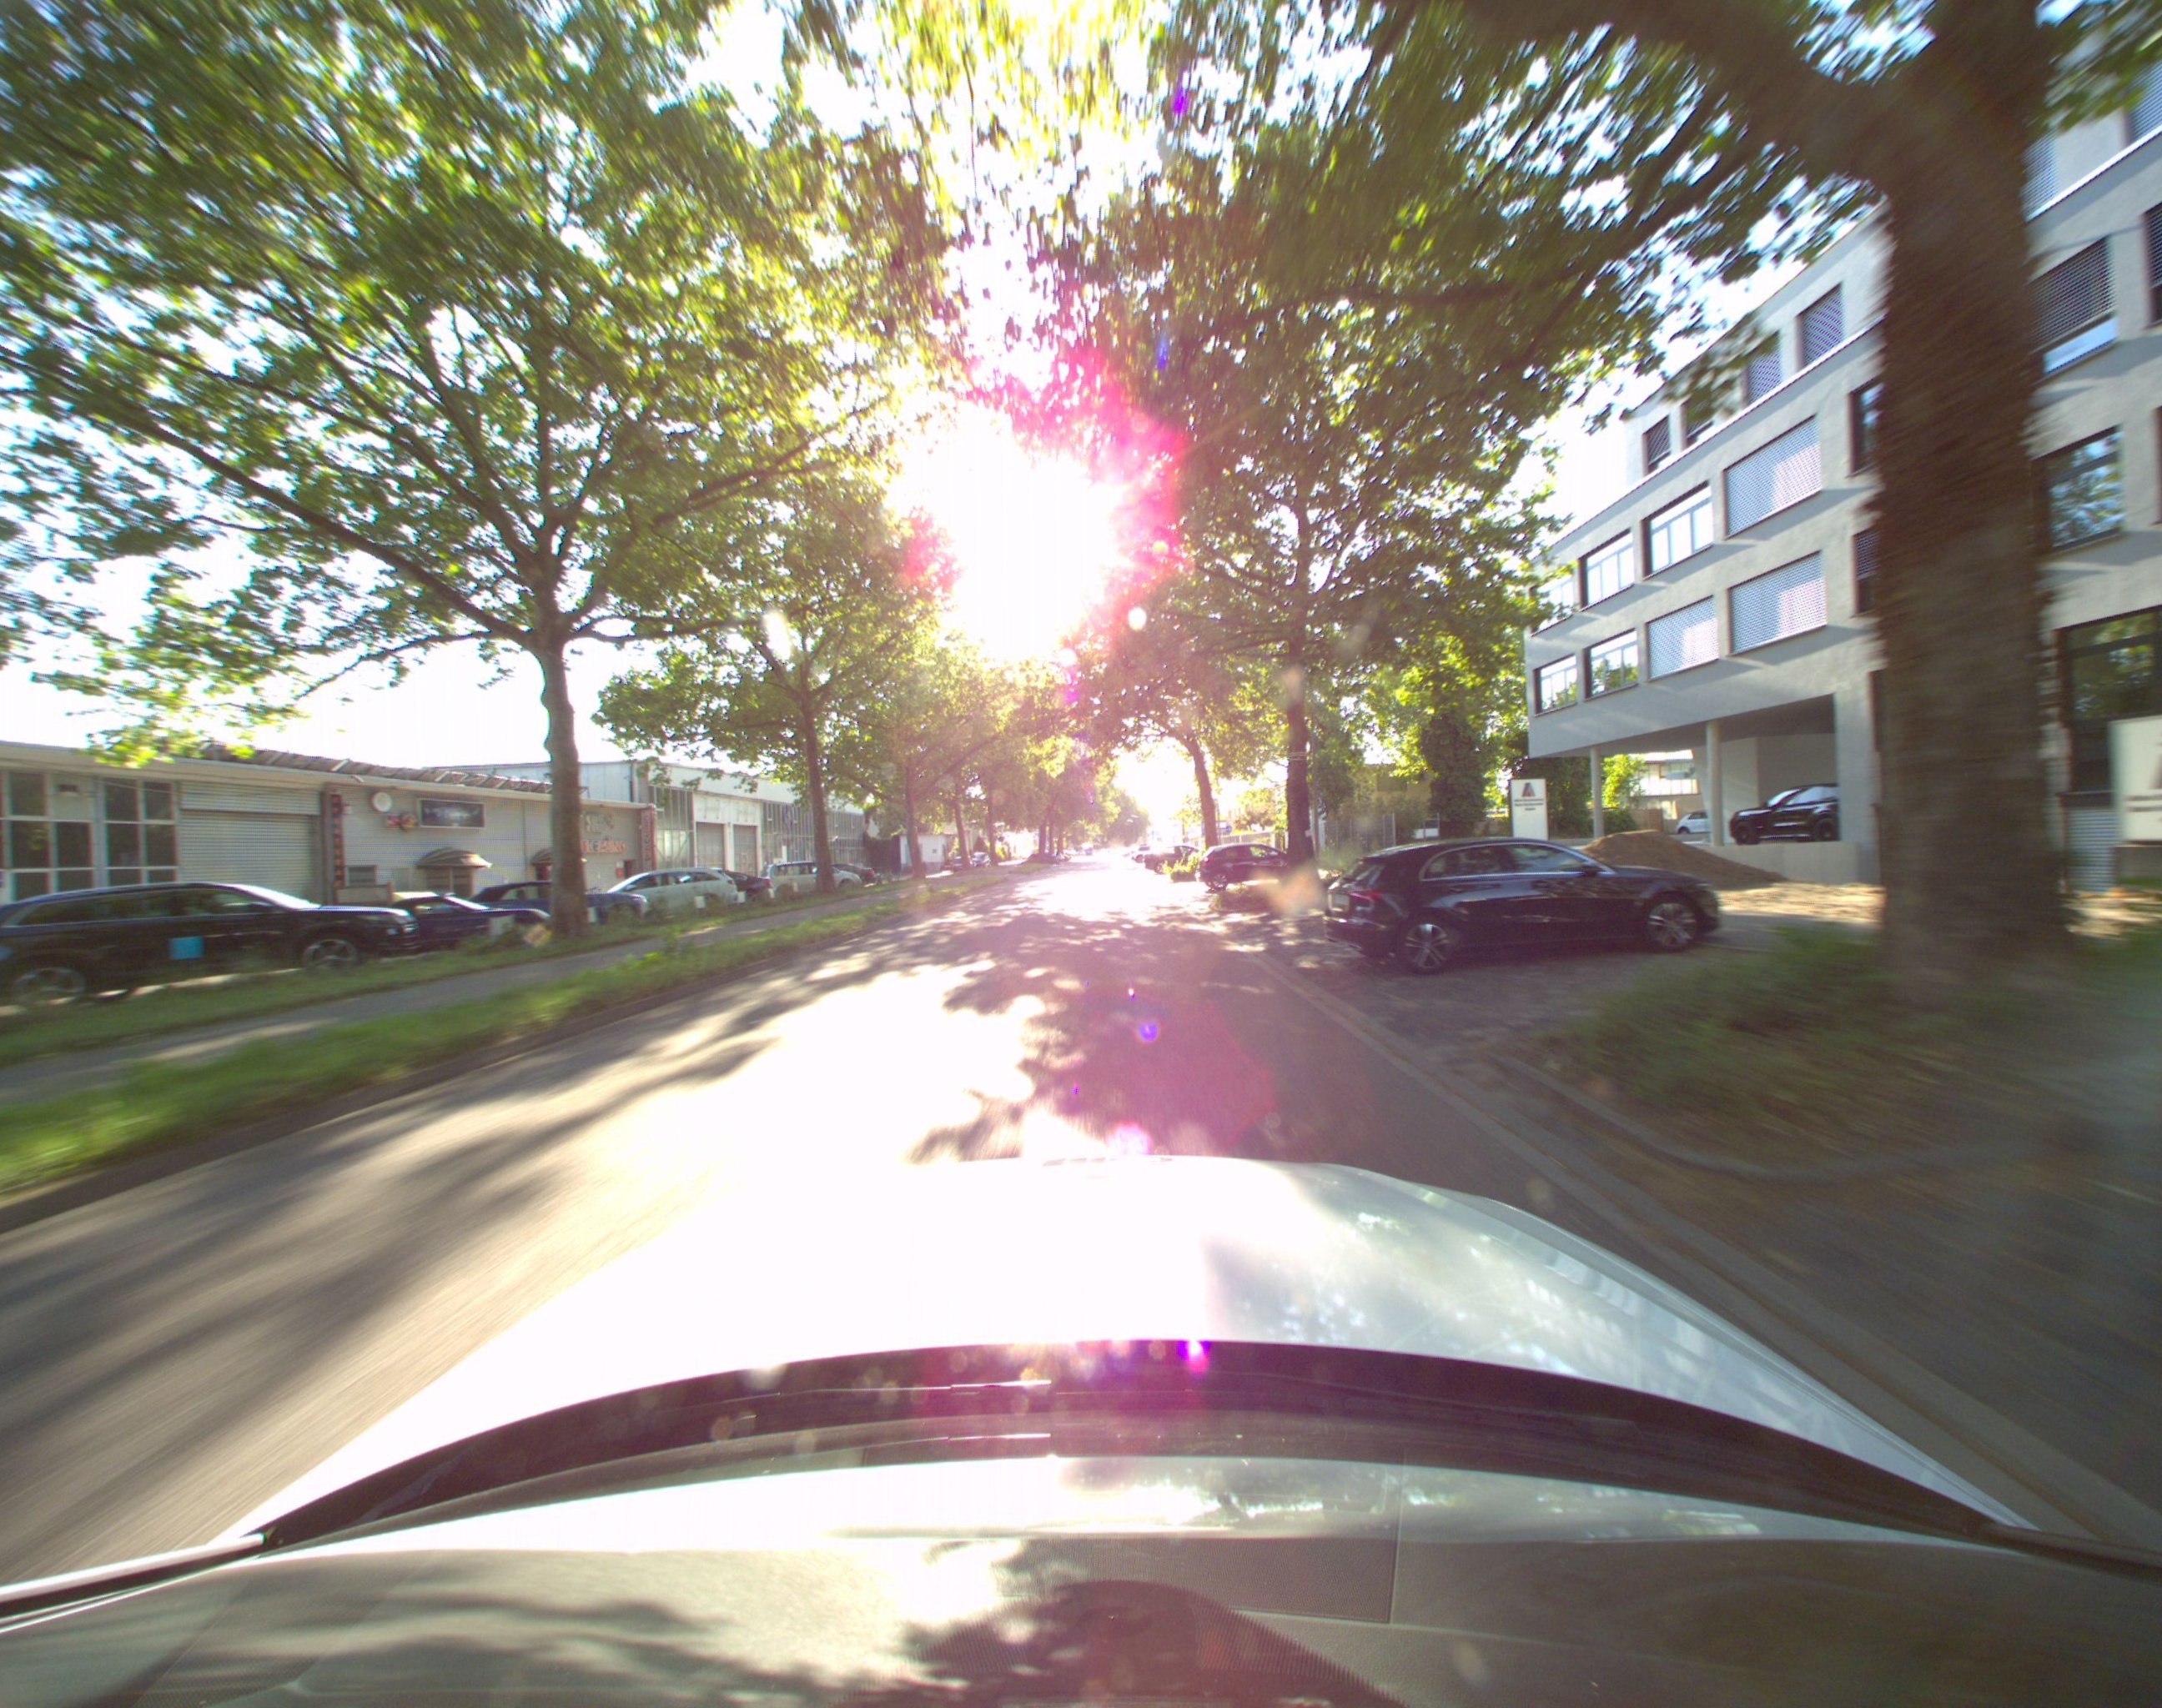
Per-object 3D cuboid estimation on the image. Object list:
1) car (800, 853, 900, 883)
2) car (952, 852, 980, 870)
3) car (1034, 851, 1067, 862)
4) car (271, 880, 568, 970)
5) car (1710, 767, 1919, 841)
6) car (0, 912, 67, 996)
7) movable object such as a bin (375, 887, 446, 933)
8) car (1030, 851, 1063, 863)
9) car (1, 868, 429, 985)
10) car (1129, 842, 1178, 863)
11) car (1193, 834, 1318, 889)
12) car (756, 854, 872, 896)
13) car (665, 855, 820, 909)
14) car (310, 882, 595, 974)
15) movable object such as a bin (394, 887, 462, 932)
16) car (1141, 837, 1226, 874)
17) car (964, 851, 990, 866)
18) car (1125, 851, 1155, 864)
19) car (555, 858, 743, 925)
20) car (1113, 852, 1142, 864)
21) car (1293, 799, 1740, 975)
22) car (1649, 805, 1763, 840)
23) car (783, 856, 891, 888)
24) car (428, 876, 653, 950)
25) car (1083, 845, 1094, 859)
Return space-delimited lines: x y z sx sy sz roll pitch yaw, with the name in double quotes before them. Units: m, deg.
"car" -11.816 0.687 41.875 4.508 1.306 1.977 -2 1 -40
"car" -10.224 0.637 72.758 1.989 1.369 3.916 -6 0 -3
"car" -4.141 0.354 109.739 4.341 1.422 1.999 -2 0 -1
"car" -12.666 1.280 15.960 4.282 1.382 1.978 0 0 -37
"car" 20.101 -1.290 22.663 1.983 1.731 4.677 0 0 7
"car" -21.303 1.937 16.007 3.255 1.385 1.563 -1 0 36
"movable object such as a bin" -22.325 1.846 27.152 1.053 1.431 1.573 0 0 -1
"car" -4.884 0.426 115.708 4.584 1.422 2.000 -2 1 0
"car" -12.972 0.989 12.721 4.282 1.452 1.978 0 0 -37
"car" 7.252 -0.182 81.693 4.610 1.712 1.999 -5 0 -1
"car" 5.873 0.250 27.701 3.773 1.486 1.860 -5 0 -1
"car" -11.774 0.896 36.069 4.504 1.730 1.978 0 0 -36
"car" -11.095 0.865 26.886 1.975 1.629 4.288 -1 0 44
"car" -12.297 1.356 16.265 4.282 1.452 1.978 0 0 -37
"movable object such as a bin" -22.774 1.914 28.433 1.053 1.431 1.627 0 0 -1
"car" 5.896 0.091 47.168 4.558 1.715 1.942 -5 0 -3
"car" -11.189 0.505 88.085 1.985 1.576 4.276 0 0 3
"car" 9.296 0.525 129.346 4.581 1.579 2.002 -5 -1 3
"car" -12.088 0.969 22.950 1.975 1.699 4.287 -1 0 45
"car" 7.710 0.641 134.532 4.585 1.613 2.000 -5 -1 0
"car" 4.966 0.355 9.745 4.271 1.486 1.860 -6 0 -1
"car" 31.238 -1.540 40.921 1.988 1.545 4.770 0 0 -2
"car" -11.581 0.825 38.789 4.508 1.306 1.977 -2 1 -40
"car" -12.708 1.302 19.329 4.282 1.452 1.978 0 0 -37
"car" 1.549 -0.431 167.478 2.120 2.659 7.004 -2 1 1
